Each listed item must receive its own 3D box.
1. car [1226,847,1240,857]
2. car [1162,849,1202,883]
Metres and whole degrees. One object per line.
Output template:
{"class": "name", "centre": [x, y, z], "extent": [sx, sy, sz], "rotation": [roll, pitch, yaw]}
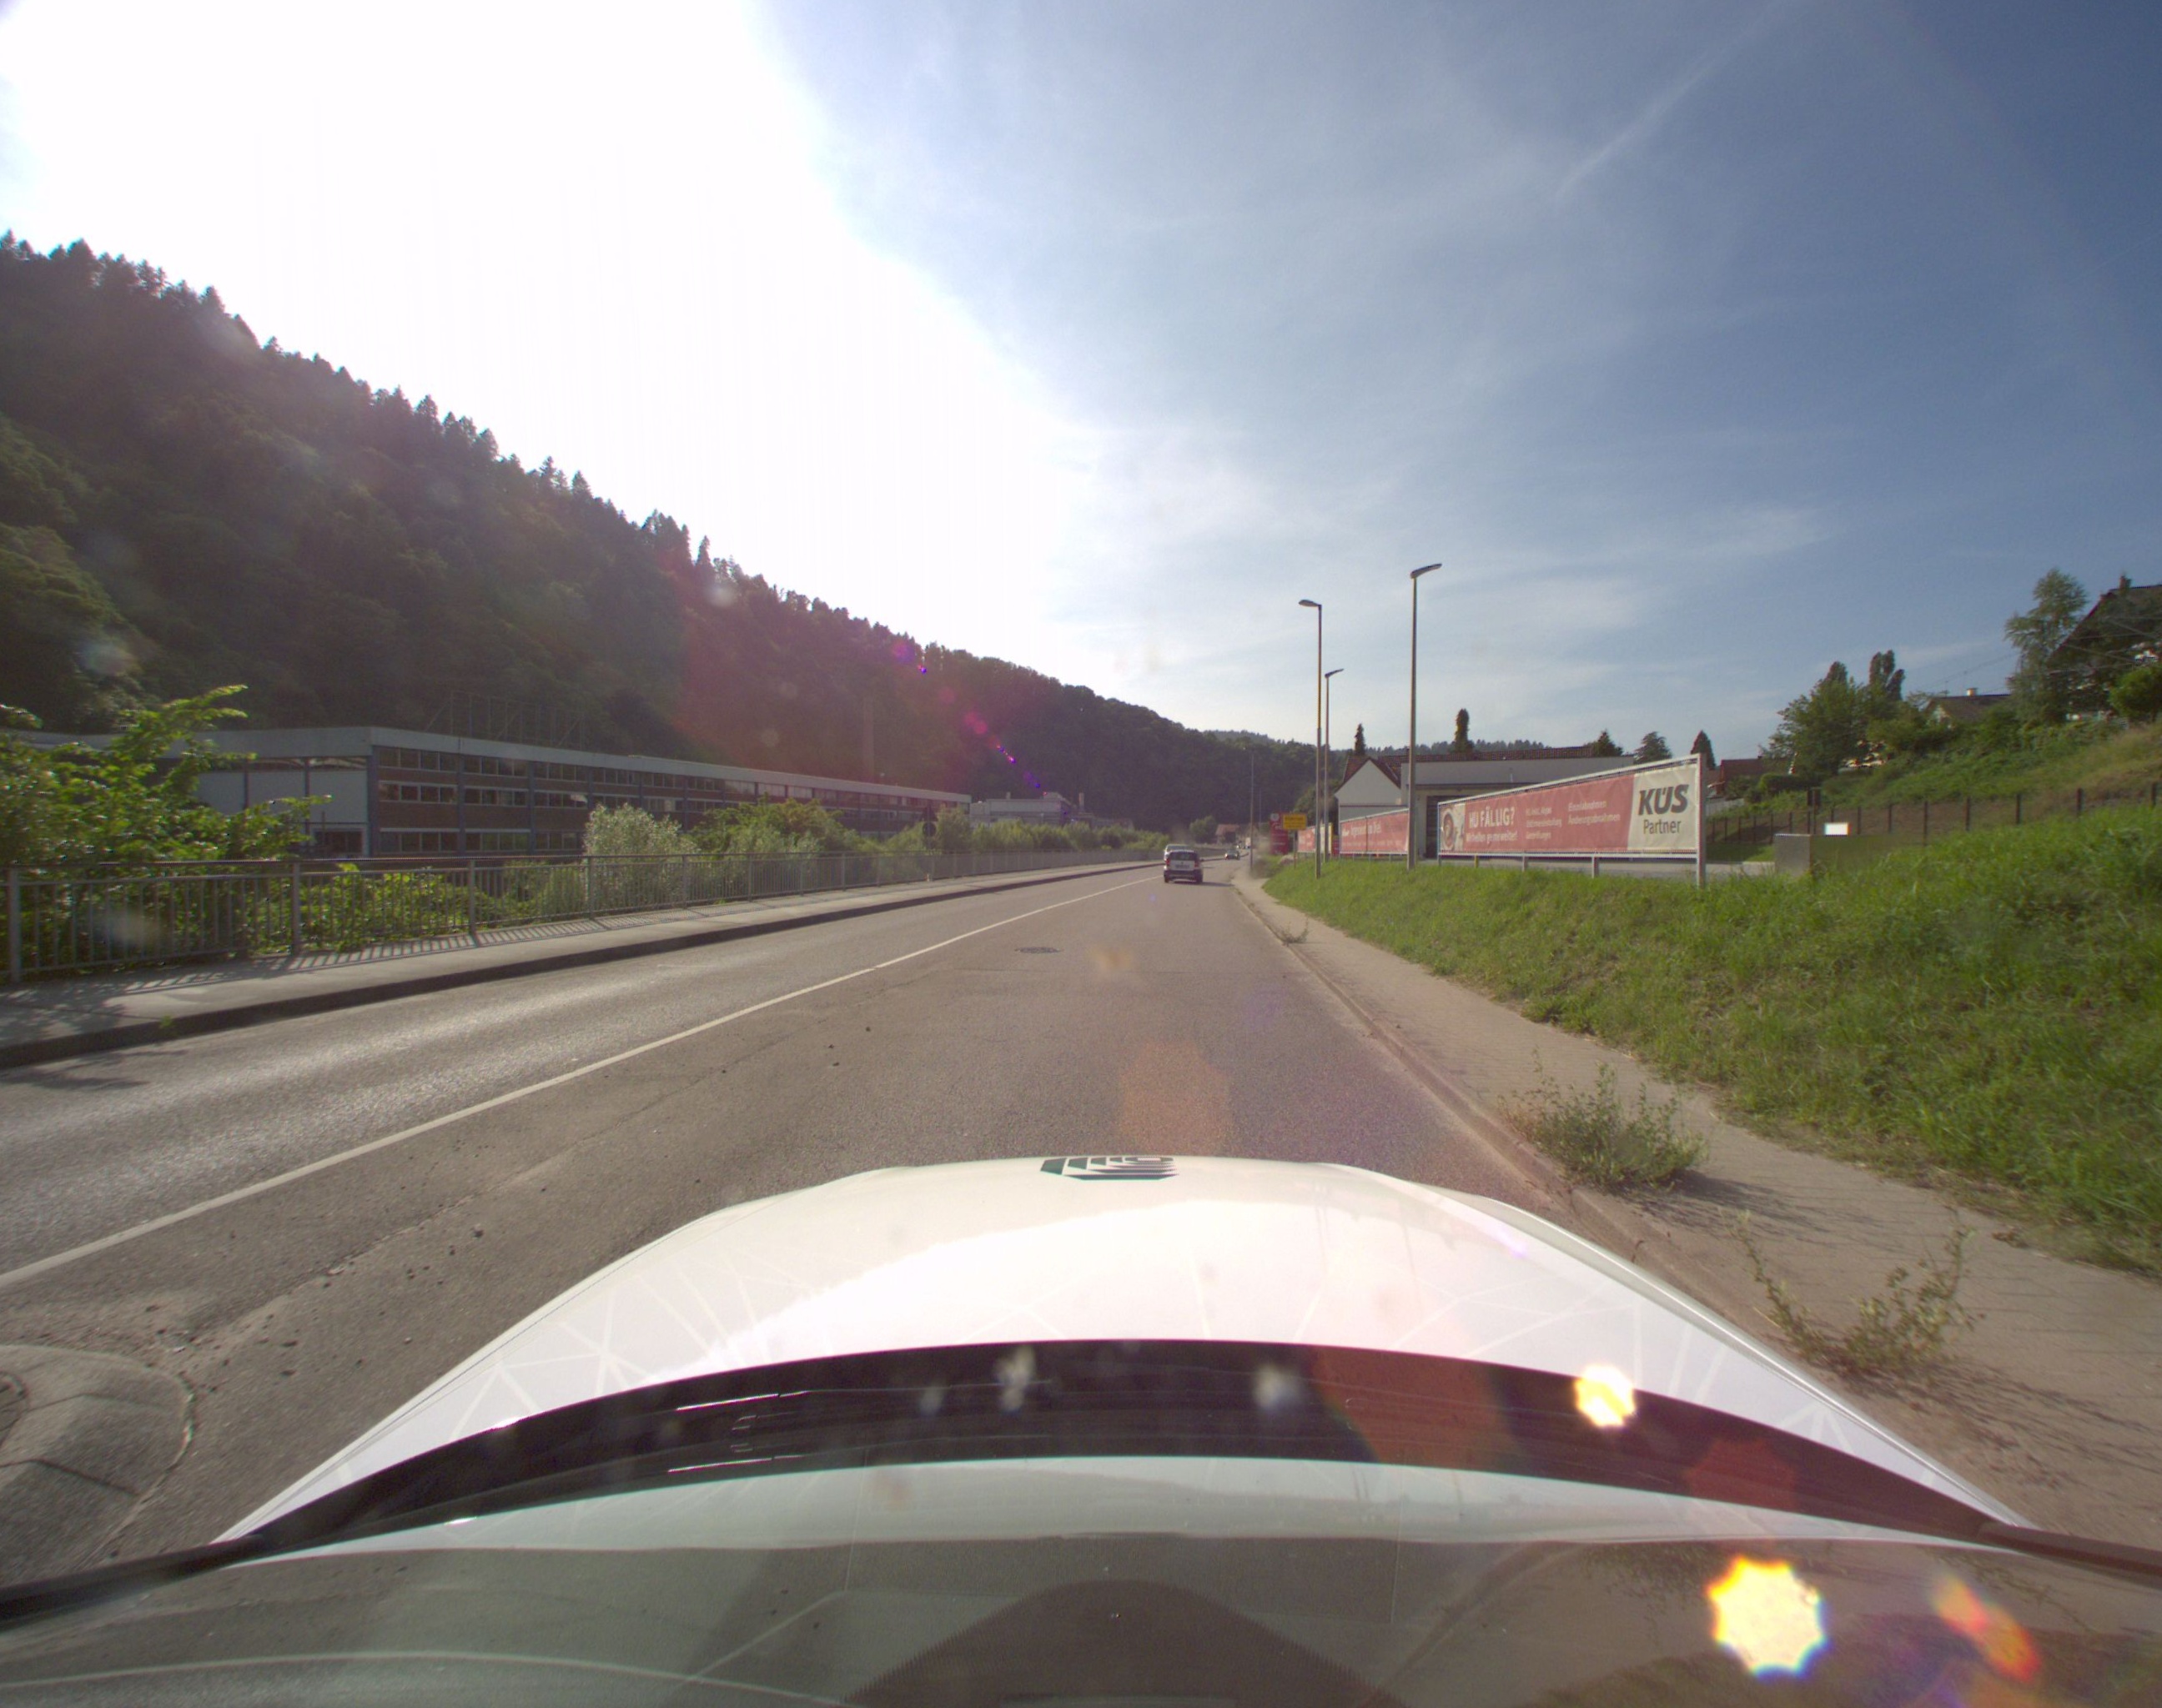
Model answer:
{"class": "car", "centre": [21.957, -0.279, 117.274], "extent": [1.801, 1.484, 4.814], "rotation": [1, 0, 12]}
{"class": "car", "centre": [5.056, 0.561, 40.904], "extent": [1.851, 1.544, 4.381], "rotation": [1, 0, 6]}
